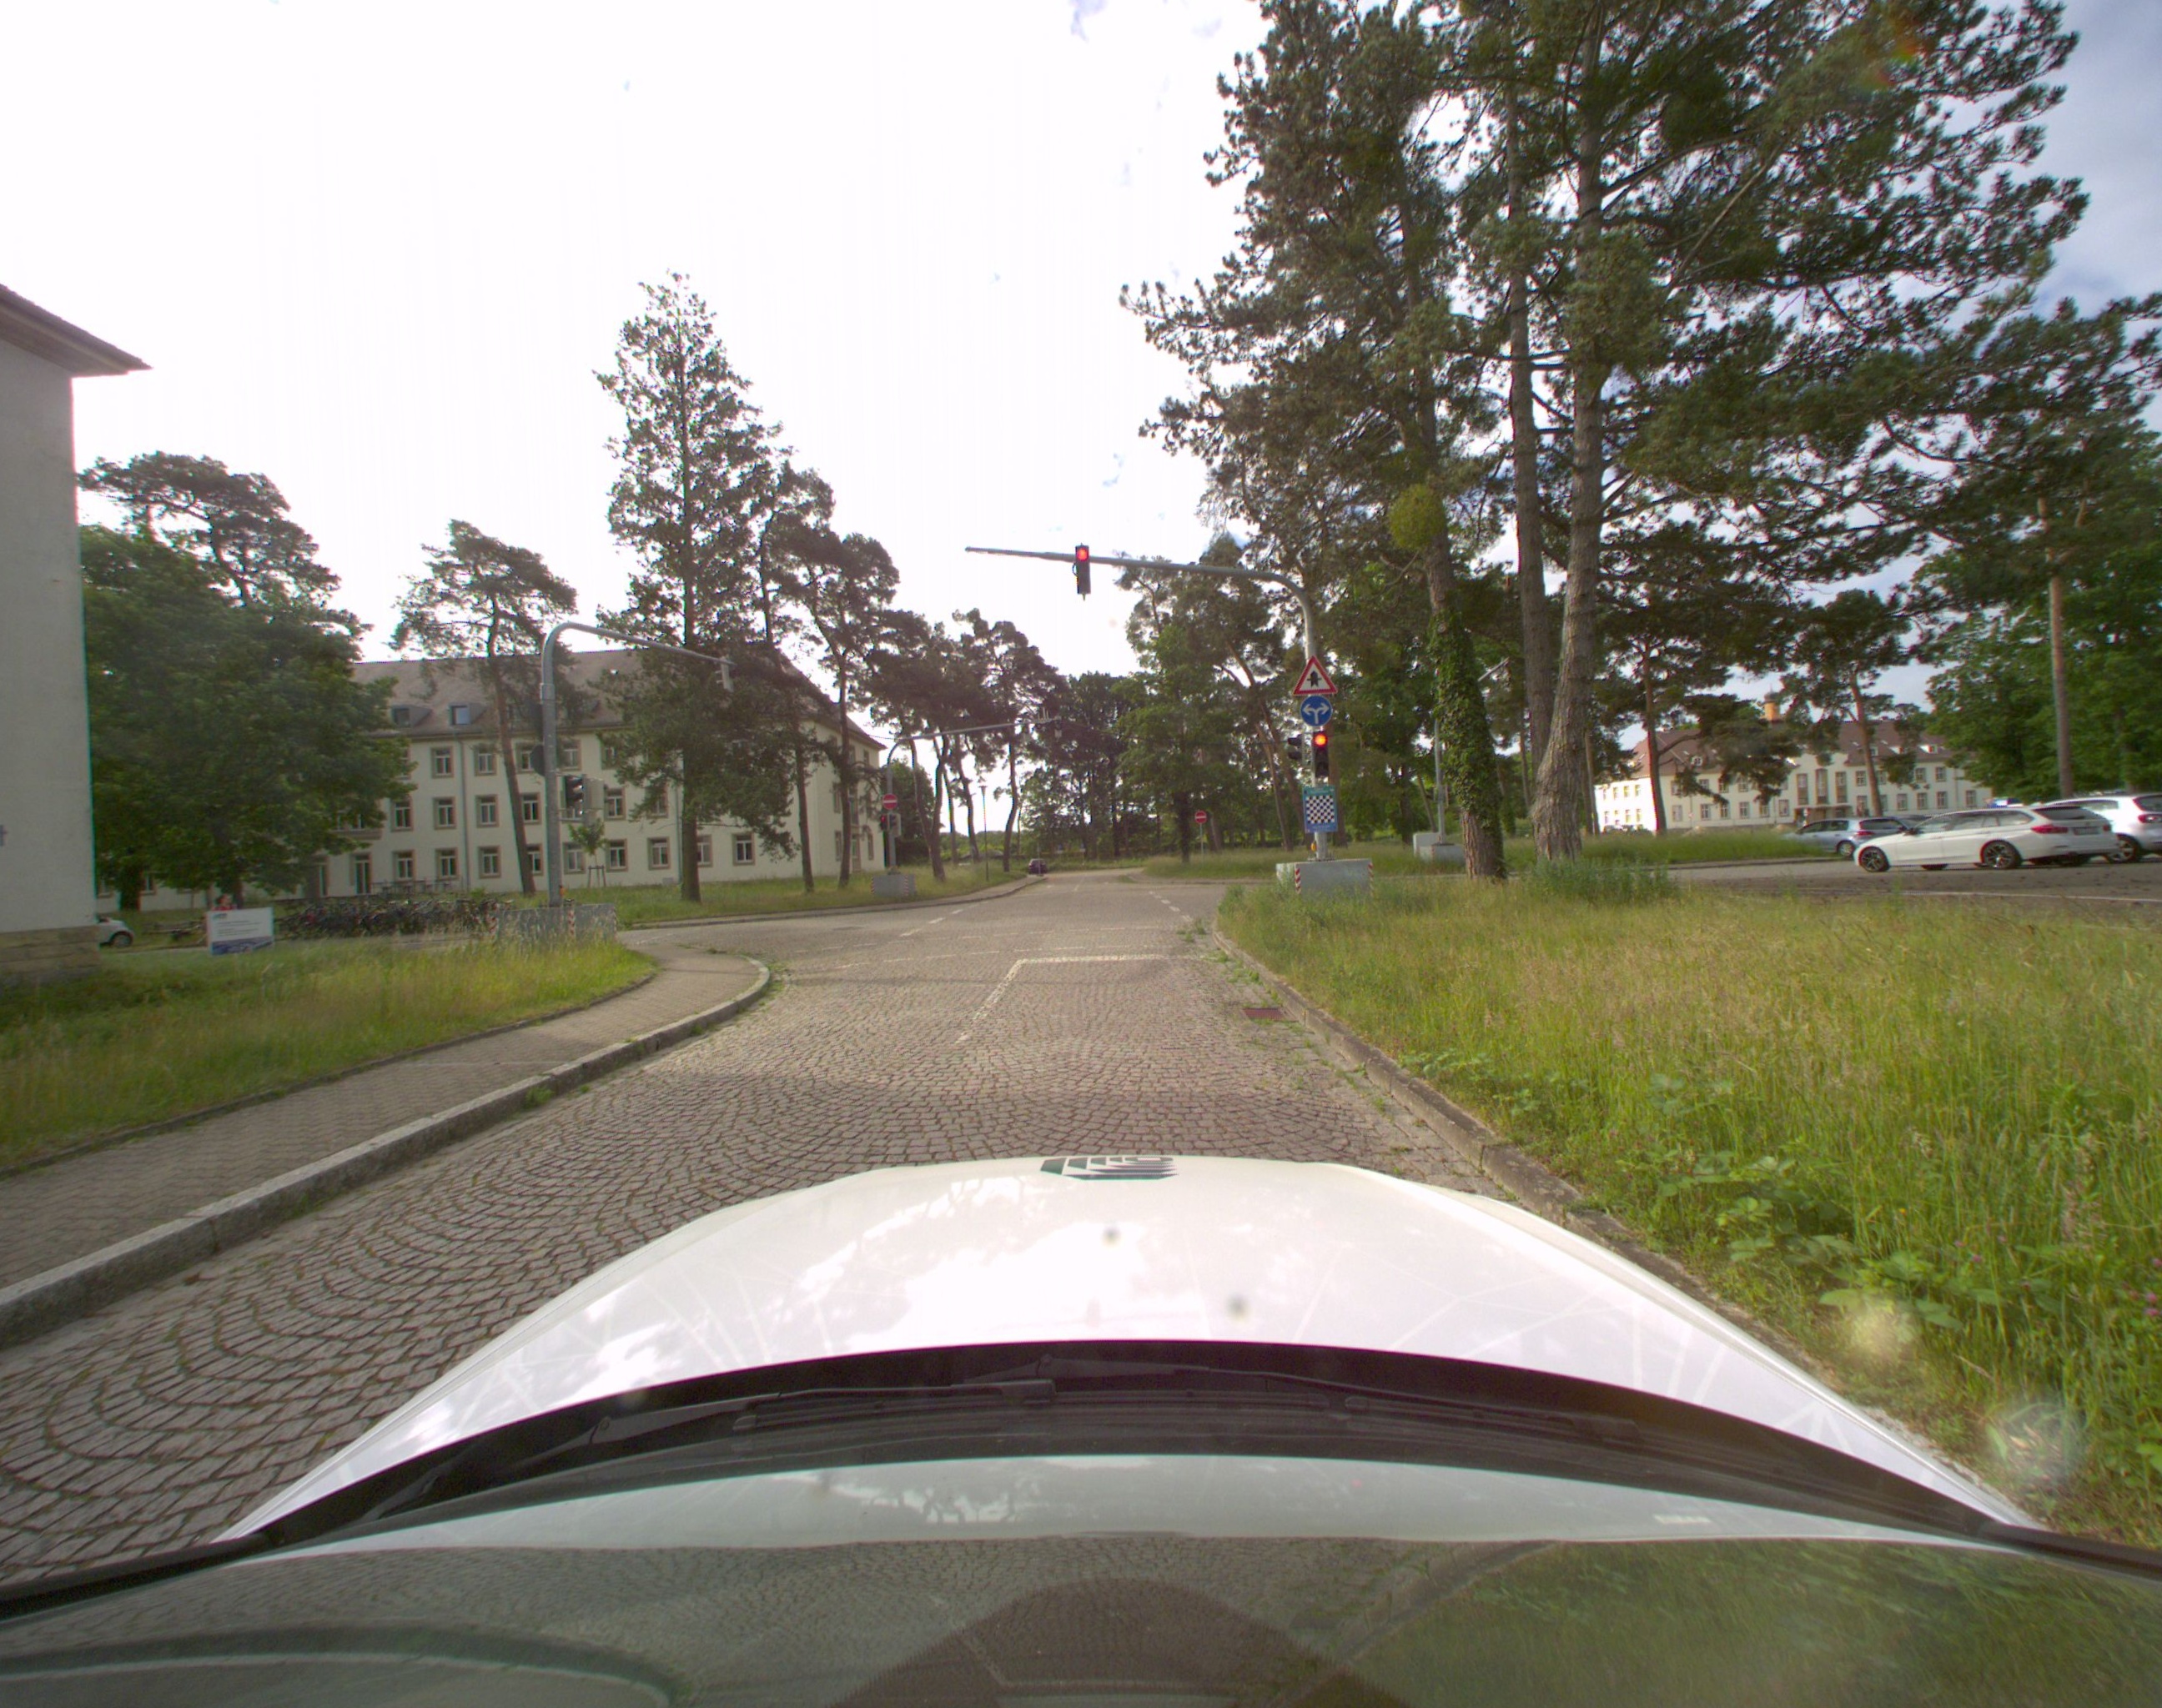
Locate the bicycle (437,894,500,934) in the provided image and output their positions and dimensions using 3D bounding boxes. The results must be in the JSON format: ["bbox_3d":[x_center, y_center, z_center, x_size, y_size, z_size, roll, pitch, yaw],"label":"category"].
[{"bbox_3d":[-20.496,1.990,27.284,0.573,1.178,1.953,-3,0,0],"label":"bicycle"}]

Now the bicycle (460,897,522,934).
[{"bbox_3d":[-19.798,2.038,27.373,0.573,1.078,1.996,-3,0,0],"label":"bicycle"}]

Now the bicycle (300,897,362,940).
[{"bbox_3d":[-25.036,2.126,27.218,0.447,1.283,1.695,-3,0,0],"label":"bicycle"}]

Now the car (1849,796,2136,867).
[{"bbox_3d":[21.369,-0.438,19.443,1.748,1.415,4.443,-3,-1,-2],"label":"car"}]

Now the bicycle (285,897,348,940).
[{"bbox_3d":[-25.523,2.140,27.206,0.447,1.283,1.695,-3,0,0],"label":"bicycle"}]

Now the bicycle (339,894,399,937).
[{"bbox_3d":[-23.811,2.036,27.269,0.447,1.283,1.695,-3,0,0],"label":"bicycle"}]

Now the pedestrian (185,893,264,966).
[{"bbox_3d":[-20.850,1.818,19.837,0.857,1.668,0.939,-3,0,-1],"label":"pedestrian"}]

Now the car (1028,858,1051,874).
[{"bbox_3d":[-4.191,1.212,83.152,1.986,1.508,4.002,-1,0,2],"label":"car"}]

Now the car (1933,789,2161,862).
[{"bbox_3d":[23.943,-0.655,19.703,1.862,1.577,4.444,-3,0,-2],"label":"car"}]

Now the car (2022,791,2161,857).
[{"bbox_3d":[26.638,-0.761,19.970,1.862,1.577,4.444,-3,0,-2],"label":"car"}]

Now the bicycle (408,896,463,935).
[{"bbox_3d":[-21.592,2.035,27.267,0.447,1.178,1.695,-3,0,0],"label":"bicycle"}]

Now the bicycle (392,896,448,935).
[{"bbox_3d":[-22.078,2.037,27.247,0.447,1.178,1.695,-3,0,0],"label":"bicycle"}]

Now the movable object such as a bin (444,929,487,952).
[{"bbox_3d":[-16.065,2.254,21.269,0.747,0.503,0.445,-3,0,0],"label":"movable object such as a bin"}]

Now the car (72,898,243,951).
[{"bbox_3d":[-34.355,2.576,30.463,1.833,1.556,3.898,-3,0,1],"label":"car"}]

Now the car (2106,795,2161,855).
[{"bbox_3d":[29.361,-0.811,20.317,1.862,1.577,4.444,-3,0,-2],"label":"car"}]

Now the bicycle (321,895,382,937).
[{"bbox_3d":[-24.374,2.053,27.245,0.447,1.283,1.695,-3,0,0],"label":"bicycle"}]

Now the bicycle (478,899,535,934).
[{"bbox_3d":[-18.285,1.978,25.909,1.454,0.996,0.452,-3,0,1],"label":"bicycle"}]

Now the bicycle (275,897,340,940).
[{"bbox_3d":[-25.991,2.153,27.404,0.441,1.283,1.785,-3,0,0],"label":"bicycle"}]

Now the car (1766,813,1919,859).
[{"bbox_3d":[28.801,-0.641,31.027,1.745,1.524,4.450,-3,0,2],"label":"car"}]

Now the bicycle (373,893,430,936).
[{"bbox_3d":[-22.791,2.006,27.354,0.447,1.283,1.695,-3,0,0],"label":"bicycle"}]

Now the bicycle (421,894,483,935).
[{"bbox_3d":[-21.079,2.007,27.324,0.526,1.178,1.930,-3,0,0],"label":"bicycle"}]

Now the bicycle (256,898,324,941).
[{"bbox_3d":[-26.455,2.169,27.271,0.447,1.283,1.827,-3,0,0],"label":"bicycle"}]

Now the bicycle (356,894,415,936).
[{"bbox_3d":[-23.296,2.021,27.312,0.447,1.283,1.695,-3,0,0],"label":"bicycle"}]

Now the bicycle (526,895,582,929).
[{"bbox_3d":[-16.764,1.840,25.932,1.454,0.996,0.452,-3,0,1],"label":"bicycle"}]
